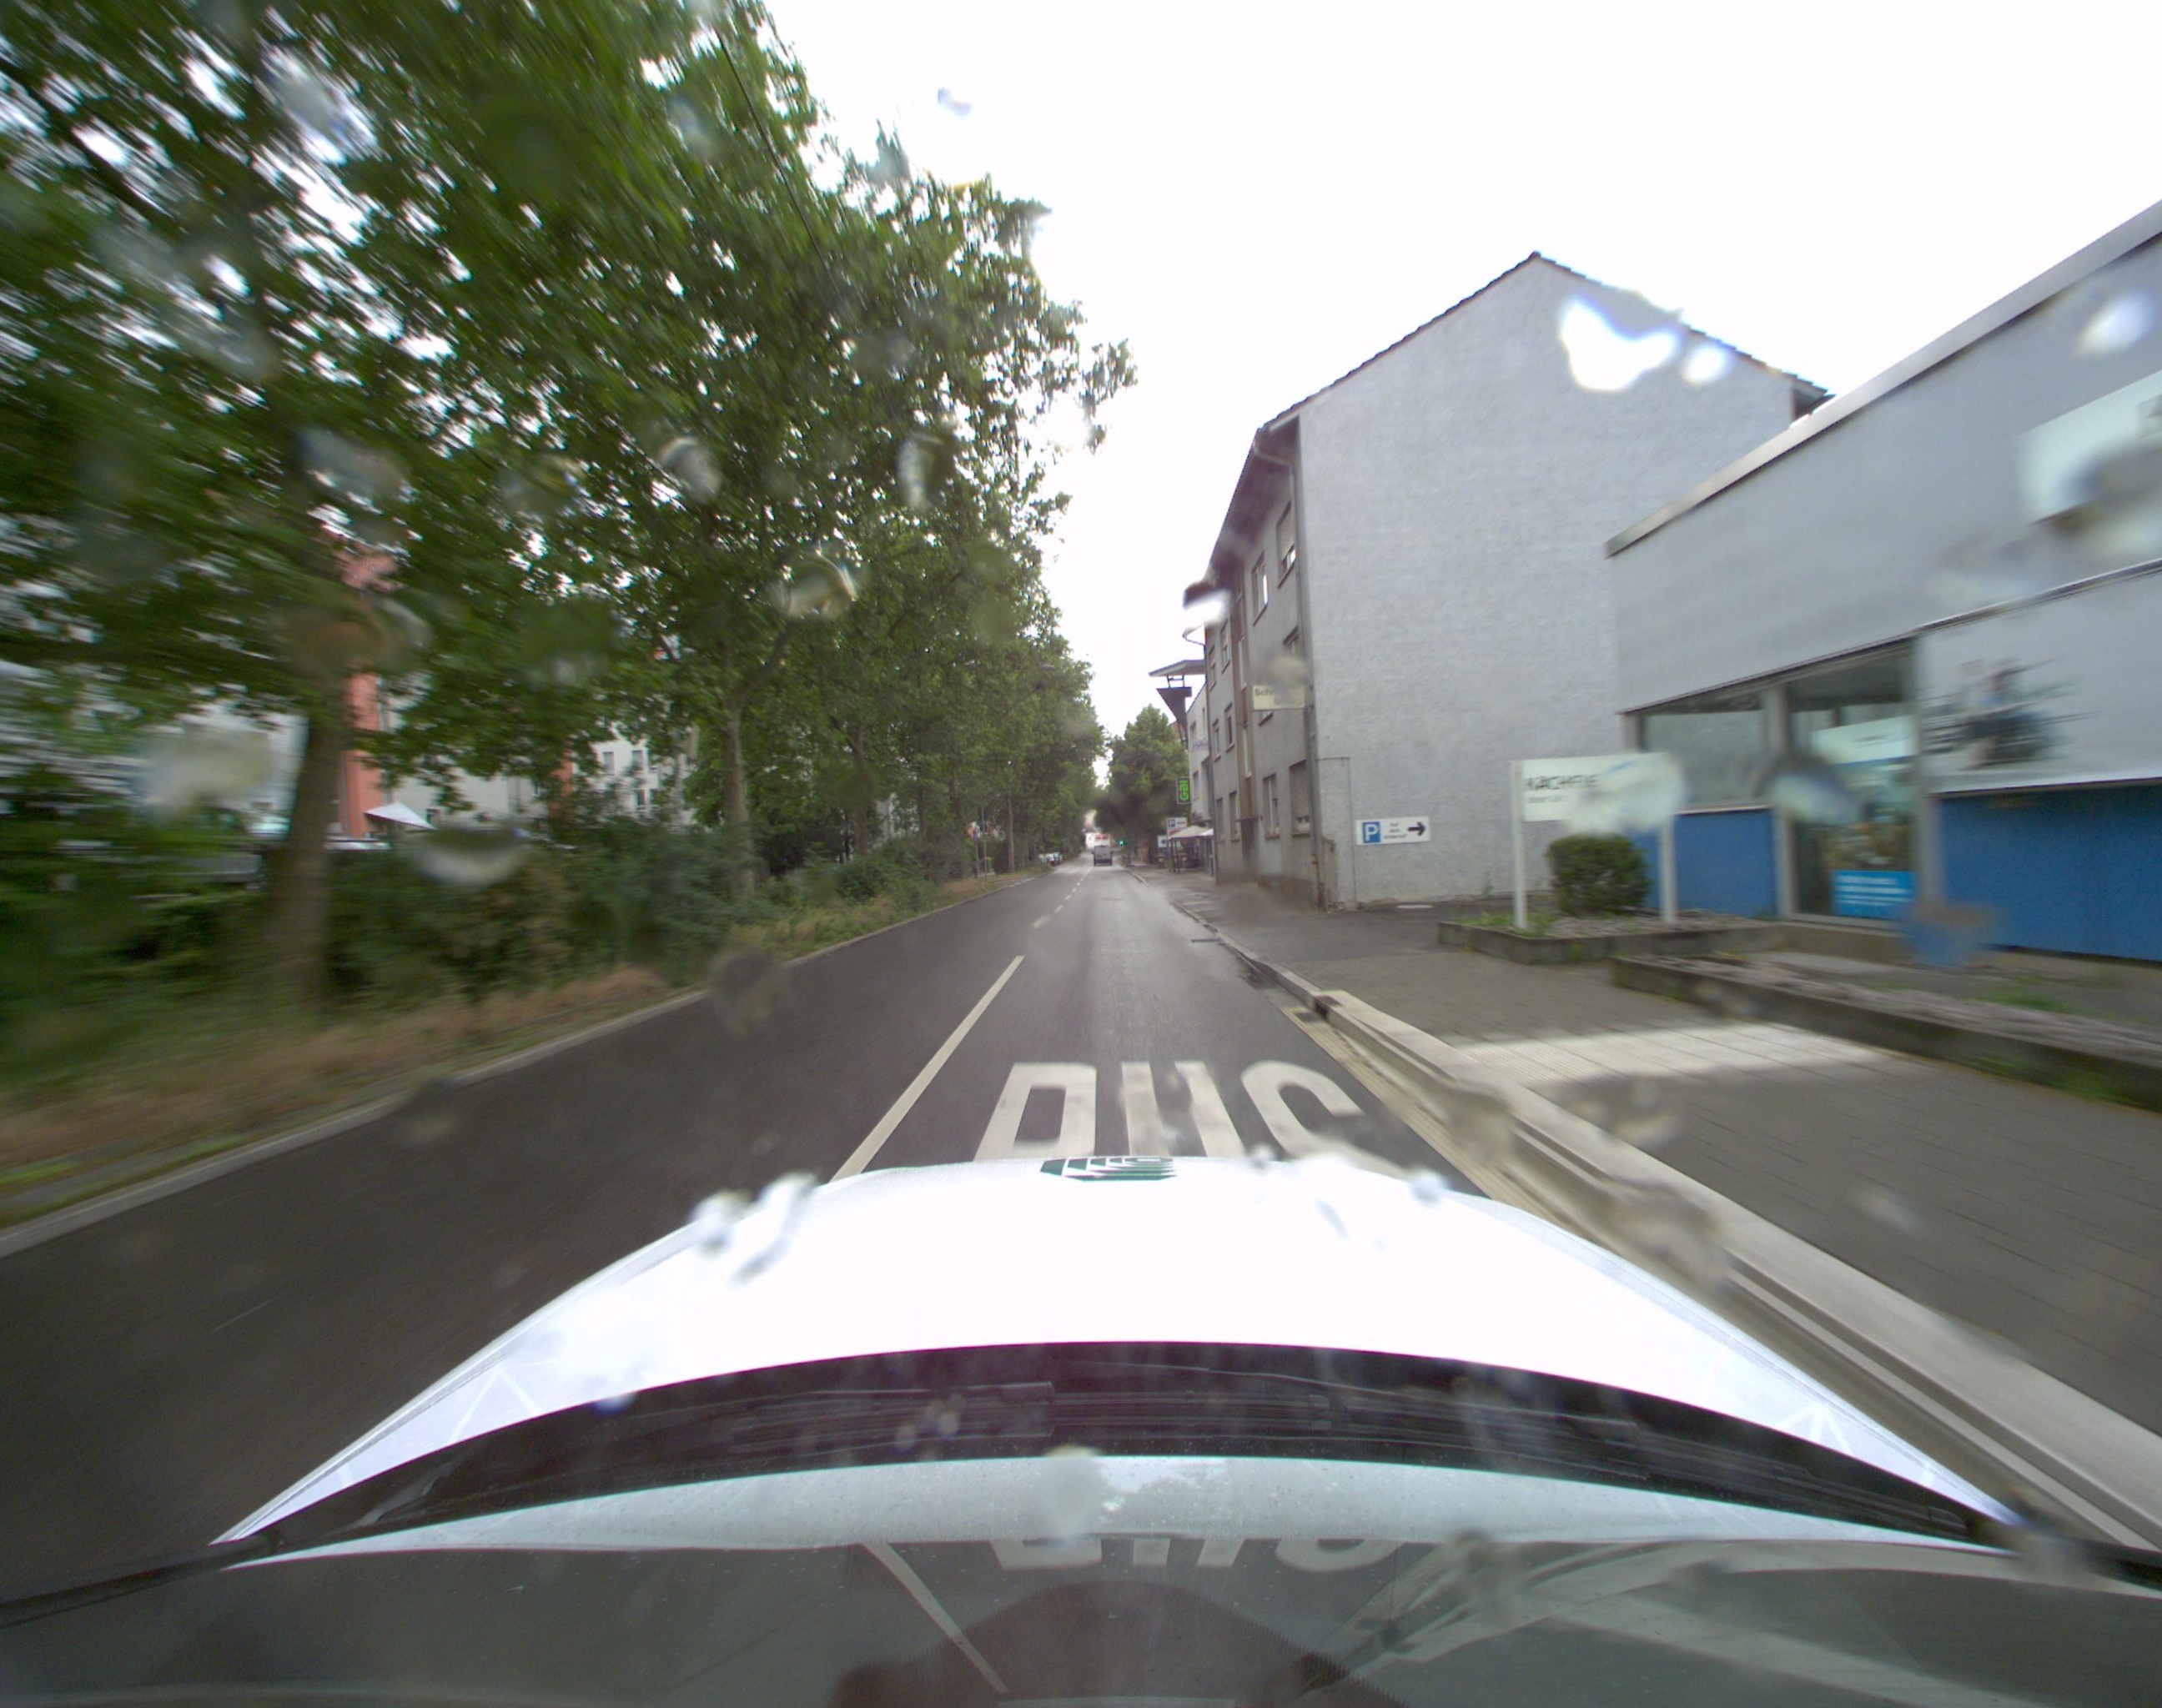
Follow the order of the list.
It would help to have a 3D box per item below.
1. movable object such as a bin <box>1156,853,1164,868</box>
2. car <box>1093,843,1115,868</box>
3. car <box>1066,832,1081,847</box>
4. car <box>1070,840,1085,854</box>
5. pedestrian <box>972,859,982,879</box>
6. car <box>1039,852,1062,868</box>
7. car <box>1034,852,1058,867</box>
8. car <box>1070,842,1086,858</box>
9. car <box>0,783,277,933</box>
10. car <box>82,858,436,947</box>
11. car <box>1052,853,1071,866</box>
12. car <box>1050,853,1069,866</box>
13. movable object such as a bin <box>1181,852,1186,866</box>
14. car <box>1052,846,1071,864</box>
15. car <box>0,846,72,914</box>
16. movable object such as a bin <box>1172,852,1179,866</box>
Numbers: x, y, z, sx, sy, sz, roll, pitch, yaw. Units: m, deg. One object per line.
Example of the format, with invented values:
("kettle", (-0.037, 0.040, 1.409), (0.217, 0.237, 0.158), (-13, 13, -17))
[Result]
("movable object such as a bin", (6.091, 0.511, 62.901), (0.399, 1.066, 0.358), (-6, -2, -5))
("car", (2.599, 0.207, 89.936), (2.274, 2.553, 4.001), (-2, -2, 2))
("car", (-1.297, -2.382, 137.885), (2.206, 2.294, 4.613), (-1, -1, 4))
("car", (-0.584, -1.226, 144.772), (2.205, 2.294, 4.615), (-1, -2, 5))
("pedestrian", (-8.304, 1.168, 65.194), (0.679, 1.571, 0.623), (-1, -1, -1))
("car", (-3.643, 0.765, 98.456), (2.206, 1.729, 4.613), (-1, -2, 4))
("car", (-3.965, 0.681, 92.242), (2.206, 1.592, 4.613), (-1, -2, 4))
("car", (-0.520, -0.592, 129.935), (2.206, 2.294, 4.613), (-1, -2, 4))
("car", (-15.097, 0.093, 12.138), (4.164, 2.013, 1.715), (-2, 0, -7))
("car", (-14.710, 0.826, 14.784), (4.431, 1.322, 1.857), (-2, 0, -1))
("car", (-2.624, 0.756, 111.865), (2.206, 1.691, 4.613), (-1, -2, 4))
("car", (-2.817, 0.773, 105.820), (1.986, 1.543, 4.613), (-1, -2, 4))
("movable object such as a bin", (7.917, 0.376, 62.906), (0.356, 1.067, 0.358), (-1, -2, -5))
("car", (-2.785, 0.172, 117.178), (2.206, 2.534, 4.613), (-1, -1, 4))
("car", (-24.791, 0.629, 17.540), (3.973, 1.431, 1.665), (-2, 0, 0))
("movable object such as a bin", (7.289, 0.415, 62.890), (0.399, 1.067, 0.358), (-2, -2, -5))
